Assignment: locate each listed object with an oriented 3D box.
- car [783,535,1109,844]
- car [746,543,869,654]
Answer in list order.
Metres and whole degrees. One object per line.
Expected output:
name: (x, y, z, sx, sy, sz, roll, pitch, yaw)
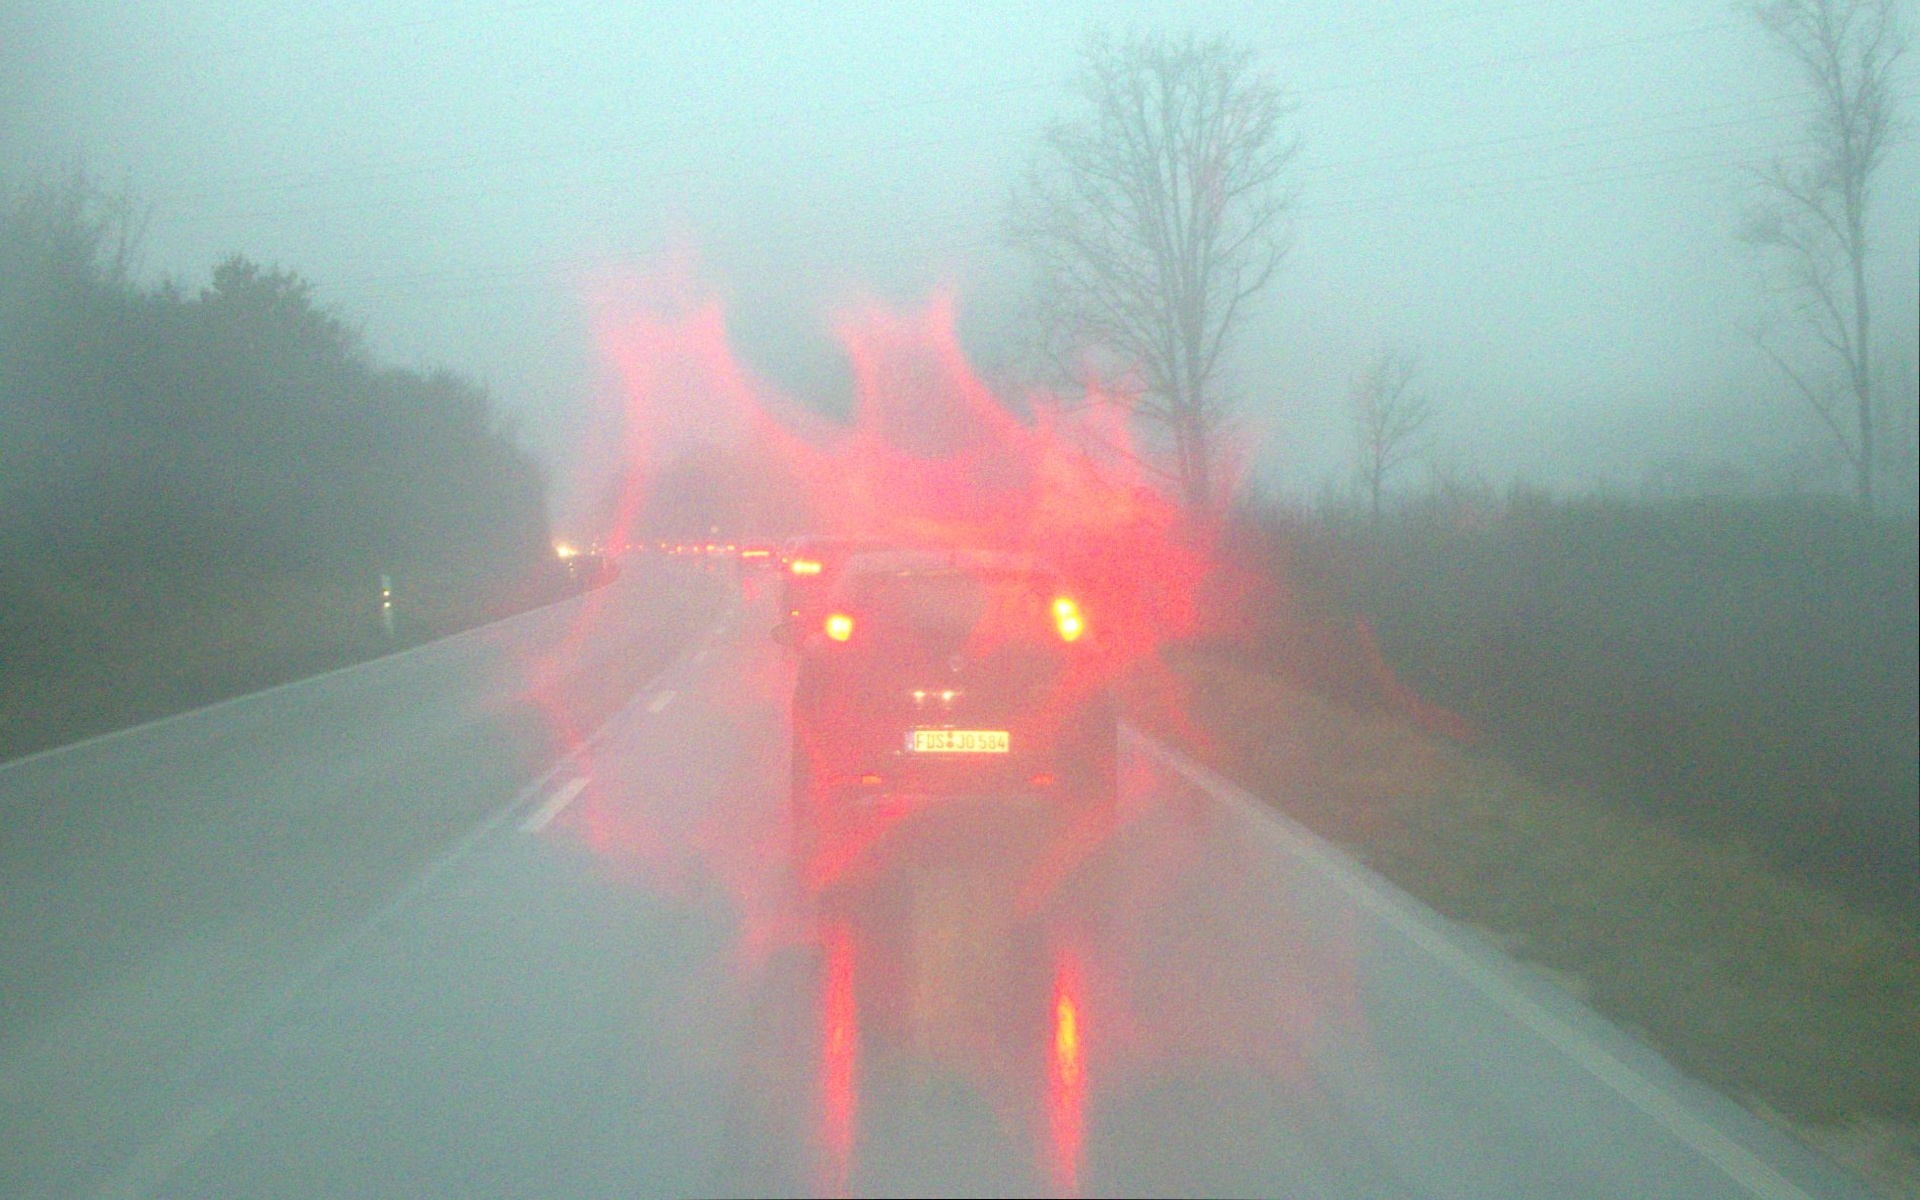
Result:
car: (-0.037, 0.409, 18.966, 1.602, 1.517, 3.869, 1, 1, 1)
car: (-2.002, -0.047, 45.760, 1.547, 1.392, 3.870, 0, 1, -2)
